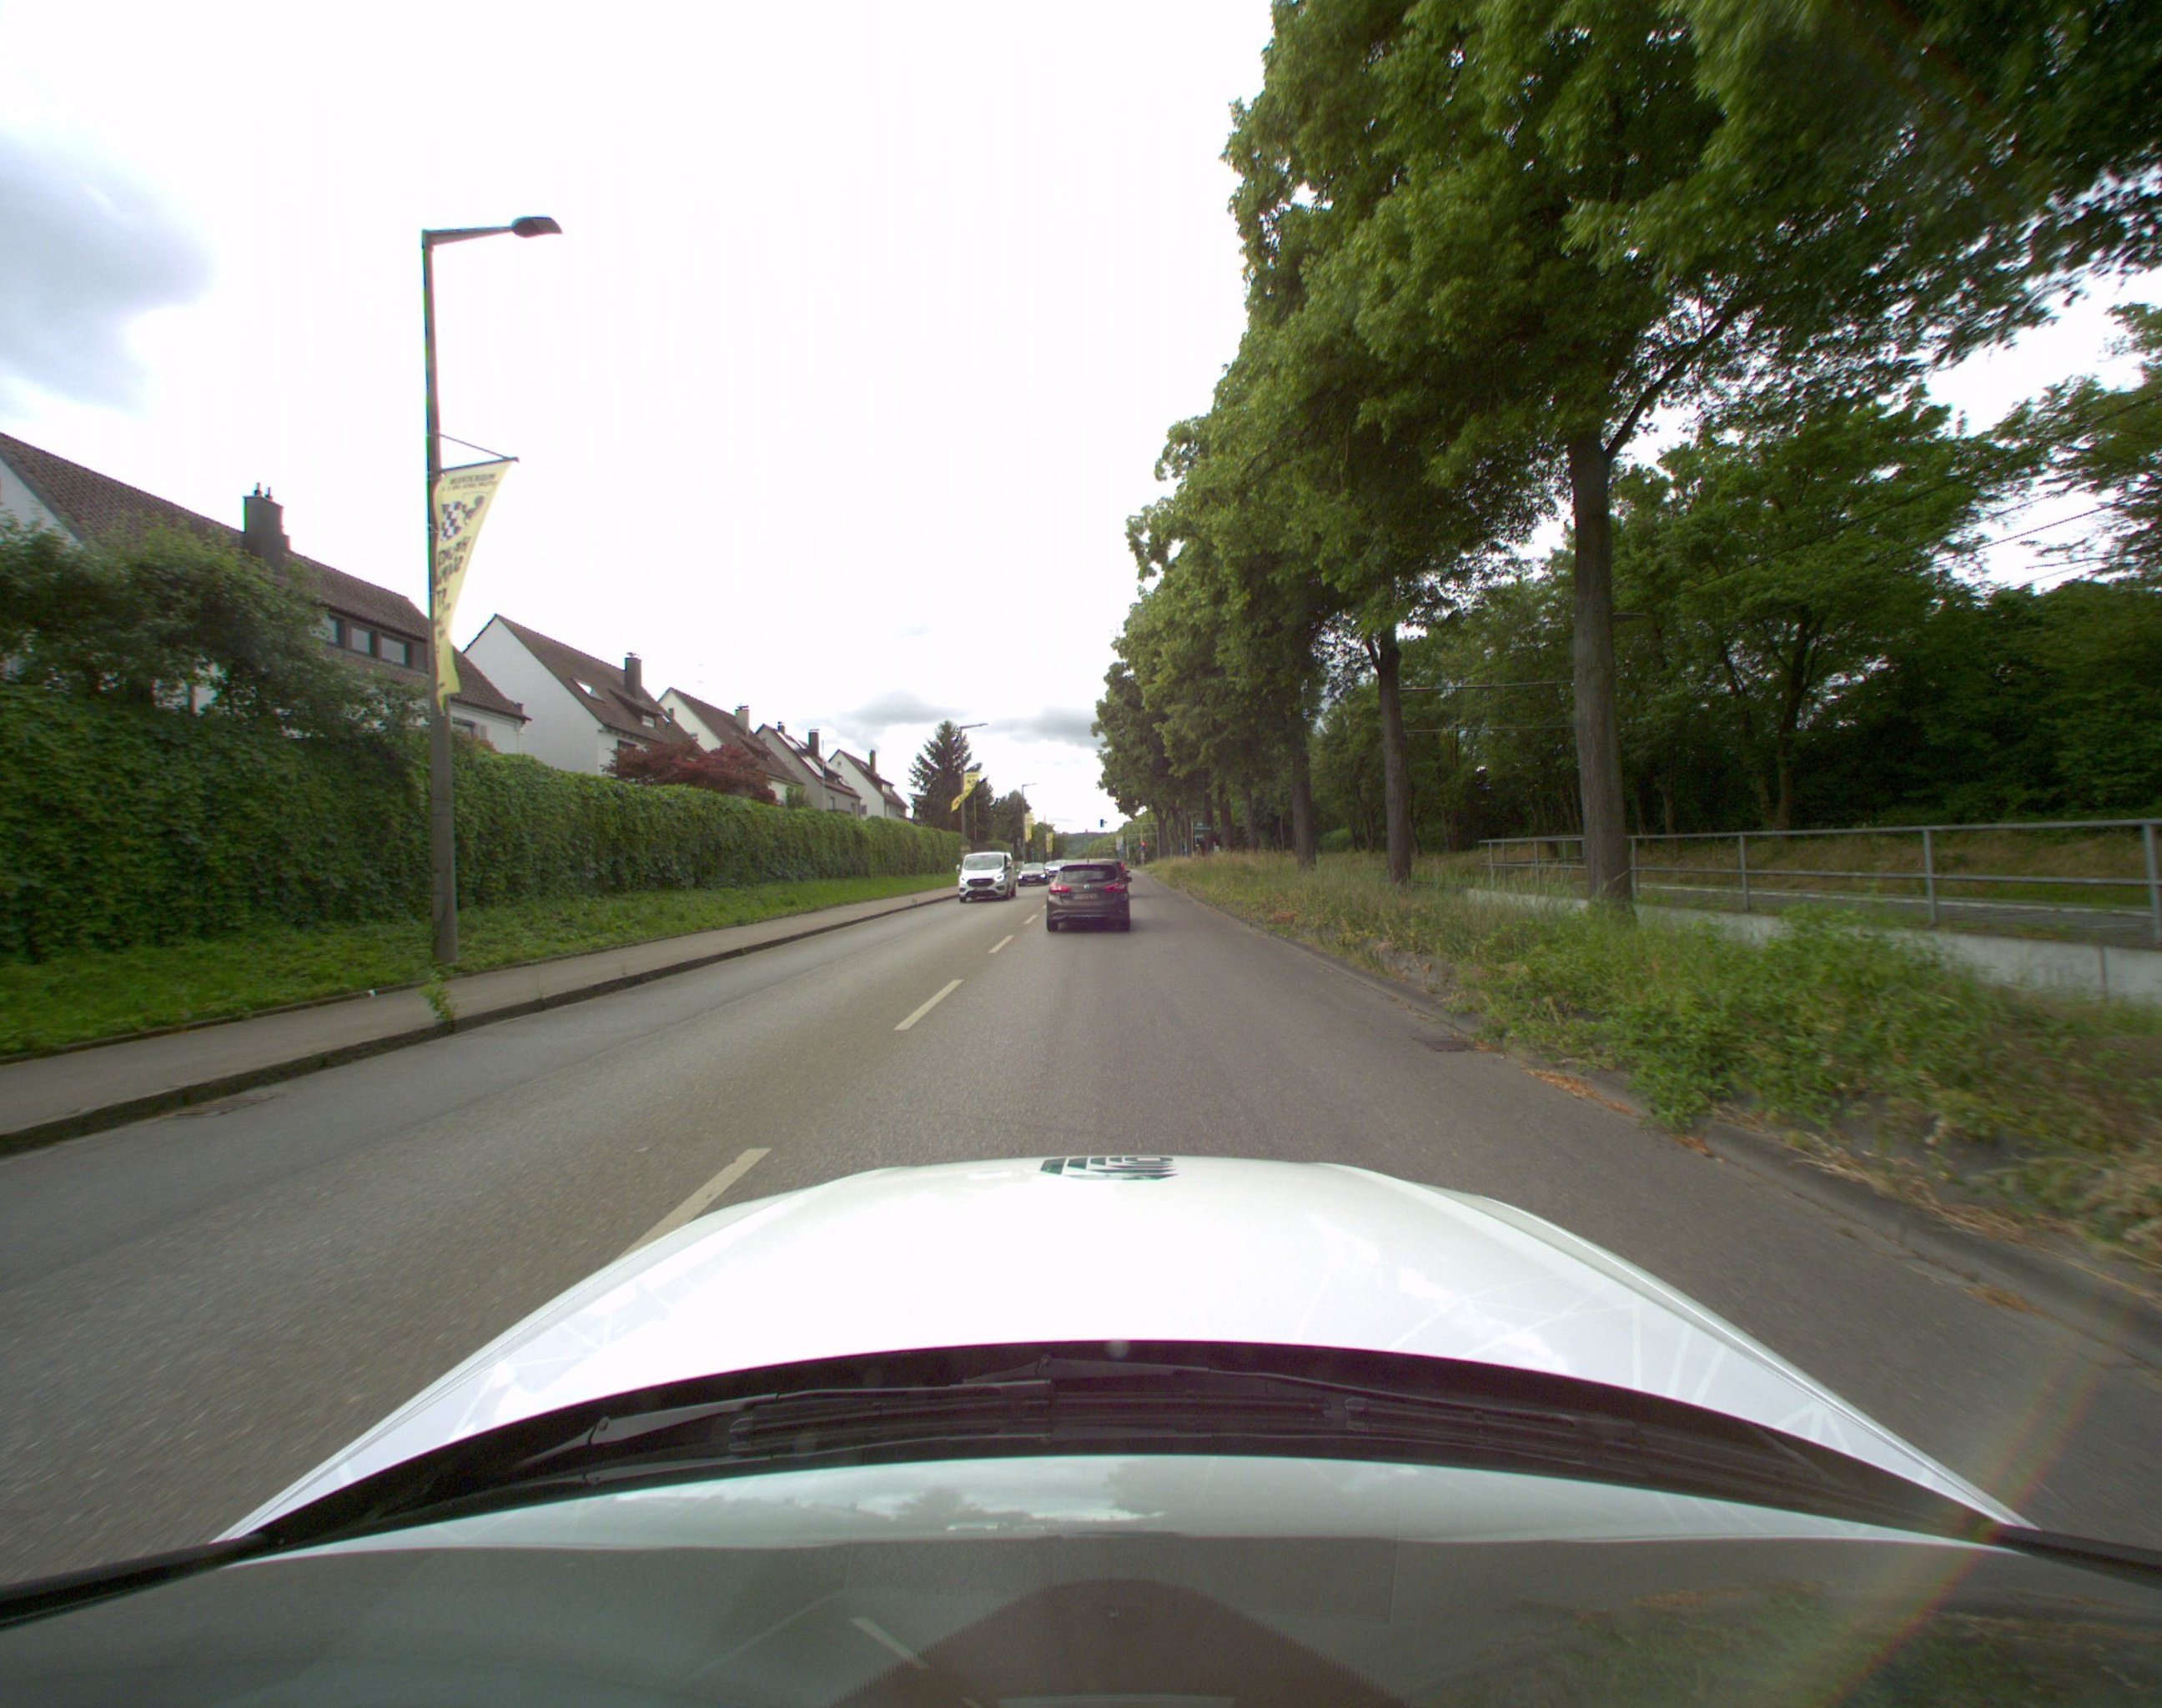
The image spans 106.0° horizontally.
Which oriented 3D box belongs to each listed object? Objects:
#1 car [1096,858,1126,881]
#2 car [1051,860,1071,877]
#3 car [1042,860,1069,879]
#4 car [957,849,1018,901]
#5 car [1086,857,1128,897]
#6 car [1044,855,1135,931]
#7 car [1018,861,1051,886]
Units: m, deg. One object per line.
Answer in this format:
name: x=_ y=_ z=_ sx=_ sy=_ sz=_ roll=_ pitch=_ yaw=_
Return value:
car: x=1.892 y=0.972 z=52.231 sx=1.785 sy=1.397 sz=4.001 roll=-2 pitch=0 yaw=2
car: x=-2.016 y=1.444 z=82.323 sx=1.745 sy=1.518 sz=4.001 roll=-4 pitch=0 yaw=1
car: x=-2.048 y=1.221 z=66.483 sx=1.880 sy=1.383 sz=4.491 roll=-3 pitch=0 yaw=0
car: x=-3.822 y=0.842 z=34.150 sx=1.900 sy=1.932 sz=4.910 roll=-3 pitch=0 yaw=0
car: x=1.040 y=0.869 z=32.190 sx=1.533 sy=1.478 sz=3.765 roll=-1 pitch=0 yaw=2
car: x=0.248 y=0.804 z=18.730 sx=1.828 sy=1.519 sz=4.484 roll=0 pitch=0 yaw=2
car: x=-2.842 y=1.189 z=50.670 sx=1.645 sy=1.348 sz=4.479 roll=-3 pitch=0 yaw=1
